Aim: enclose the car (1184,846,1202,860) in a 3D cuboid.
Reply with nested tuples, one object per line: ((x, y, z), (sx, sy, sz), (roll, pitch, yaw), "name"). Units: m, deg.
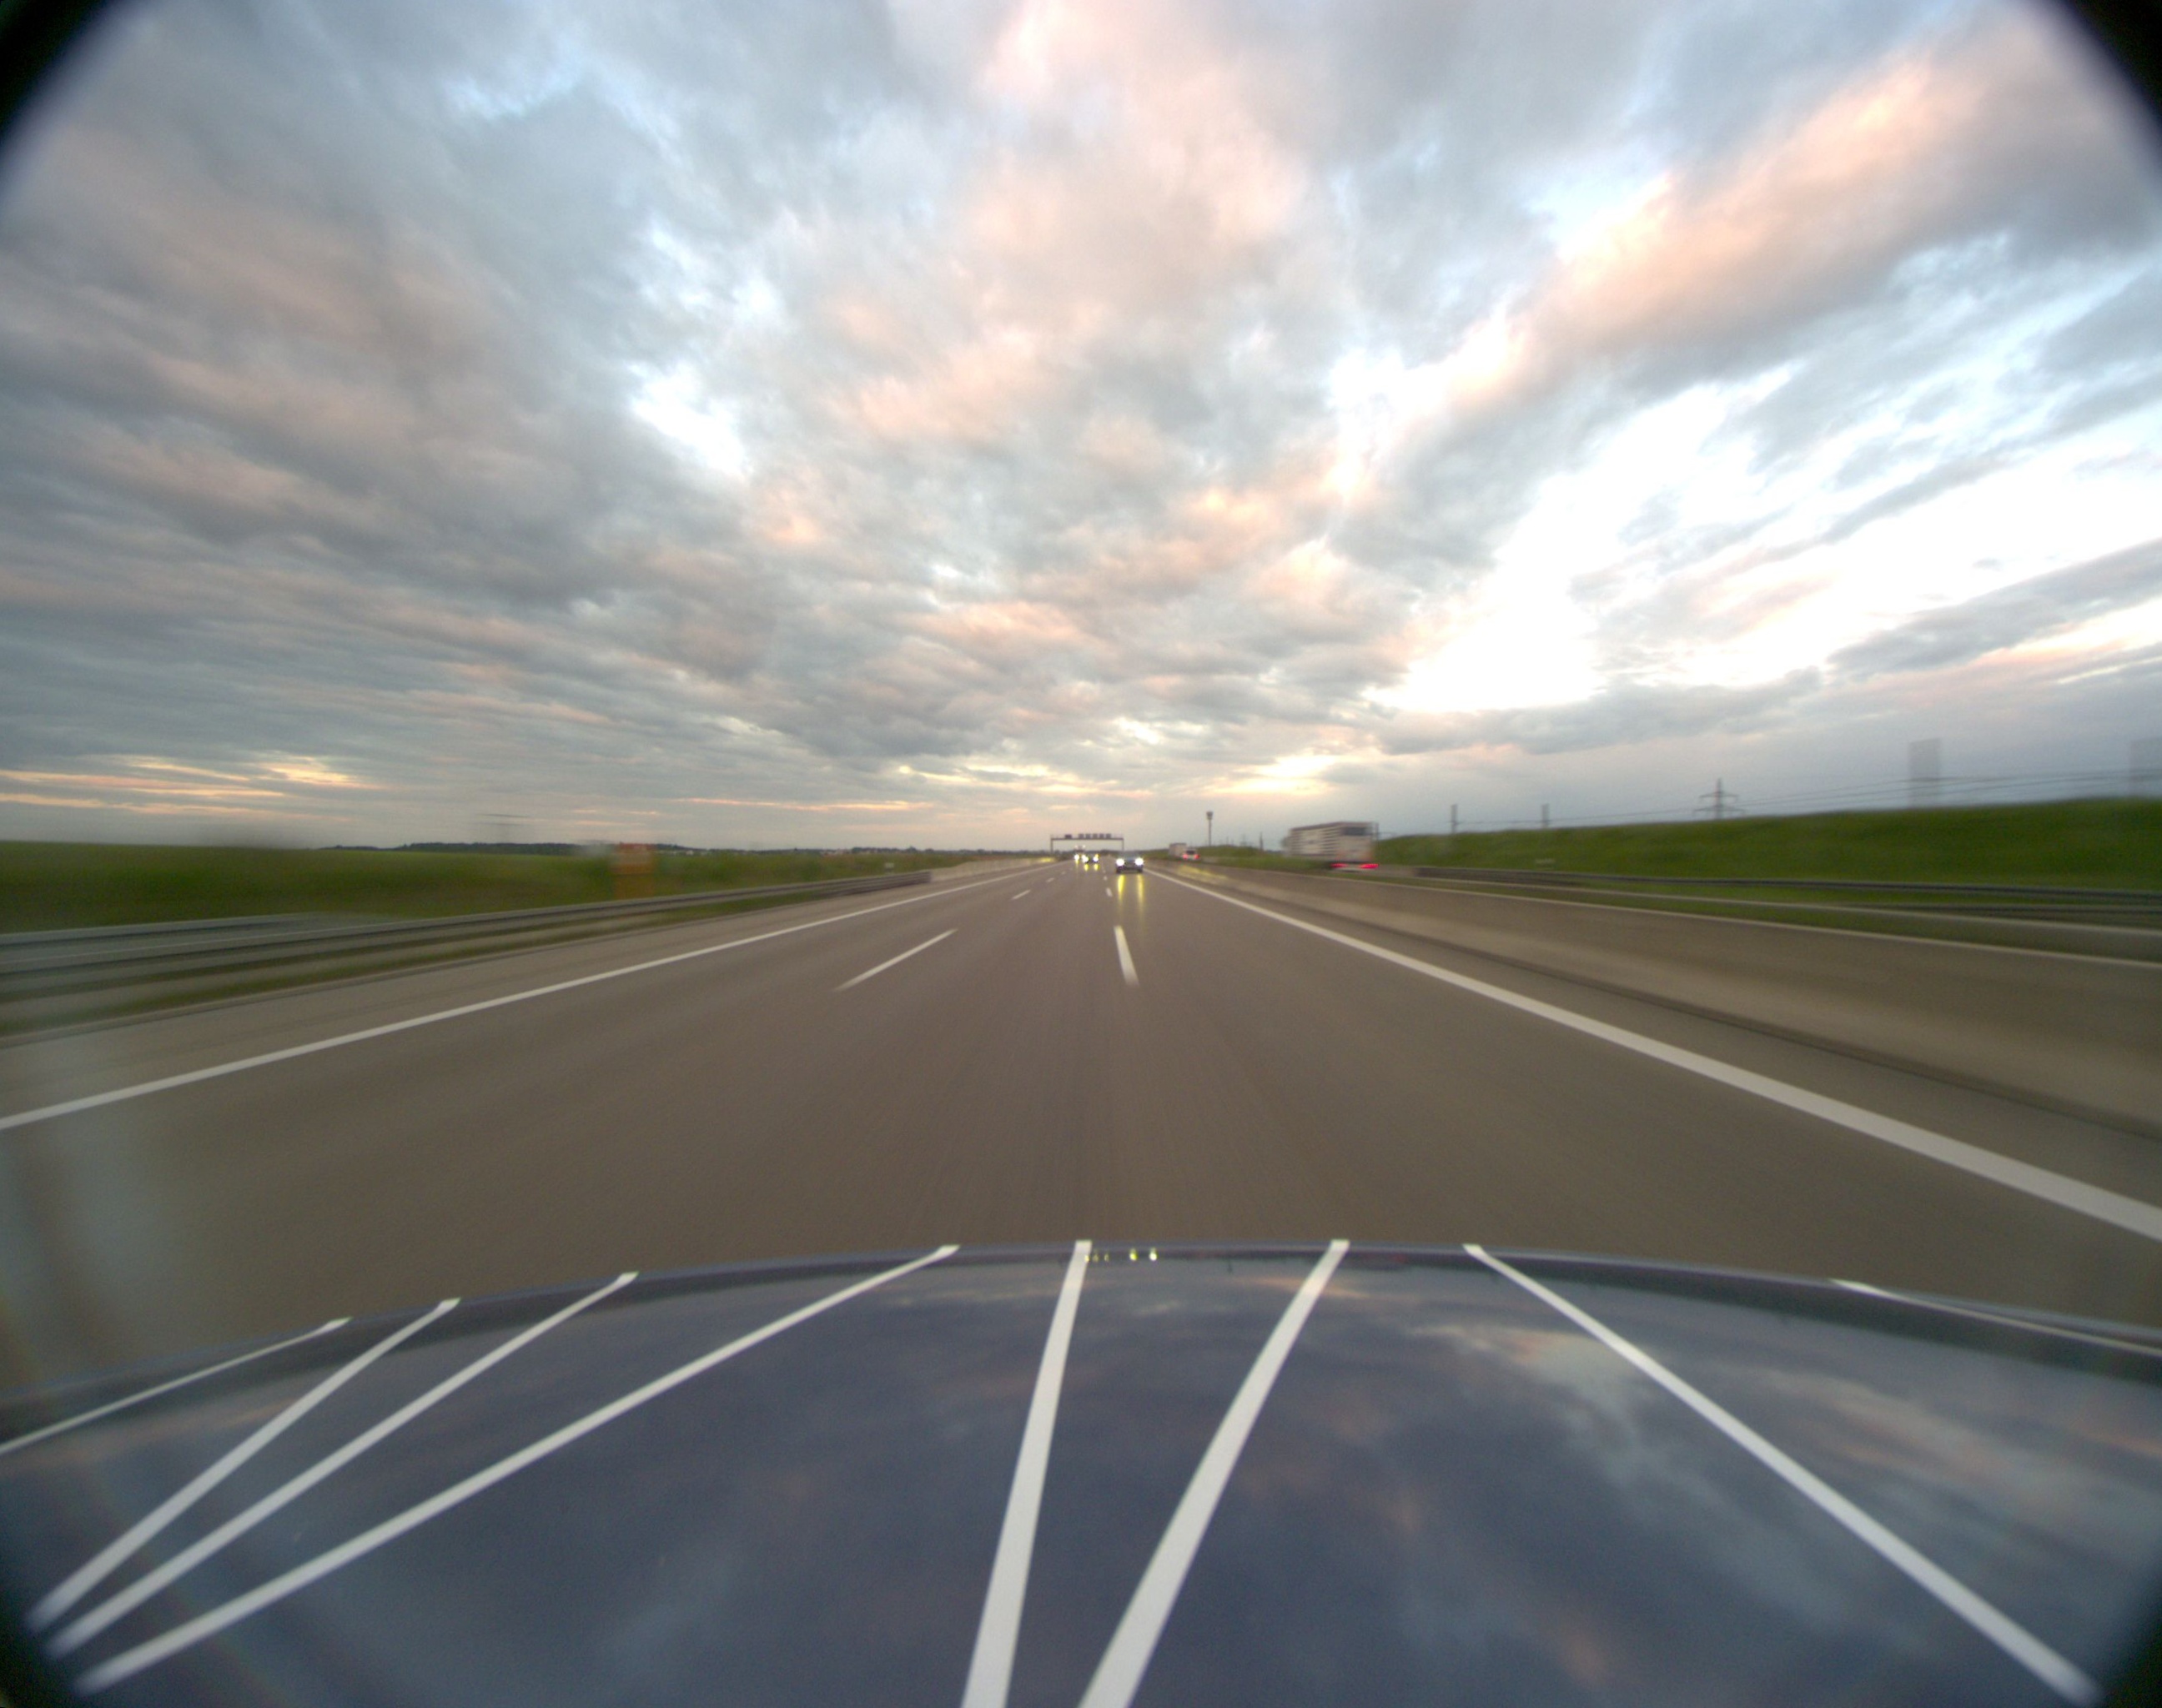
((18.411, -0.157, 125.029), (2.133, 2.331, 6.492), (0, 0, 2), "car")

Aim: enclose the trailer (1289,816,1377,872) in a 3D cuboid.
((20.495, -0.771, 63.143), (2.693, 4.091, 15.109), (1, 0, 2), "trailer")

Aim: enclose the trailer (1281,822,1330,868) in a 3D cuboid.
((20.788, -0.816, 70.717), (2.693, 4.091, 6.939), (1, 1, 3), "trailer")

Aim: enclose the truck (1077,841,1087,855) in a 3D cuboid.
((0.377, -1.651, 223.619), (2.596, 3.999, 5.859), (-1, 0, 1), "truck")

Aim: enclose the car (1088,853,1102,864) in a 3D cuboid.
((2.172, 0.696, 117.211), (1.998, 1.652, 4.851), (-3, 0, 2), "car")

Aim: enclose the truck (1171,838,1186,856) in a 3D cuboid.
((23.923, -1.631, 186.609), (2.824, 4.327, 6.739), (-2, 0, 3), "truck")

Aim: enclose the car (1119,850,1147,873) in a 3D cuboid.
((4.031, 0.524, 59.513), (1.998, 1.652, 4.000), (-3, 0, 2), "car")

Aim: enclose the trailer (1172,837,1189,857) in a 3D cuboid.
((23.591, -1.629, 180.244), (2.824, 4.327, 12.841), (-2, 0, 3), "trailer")
